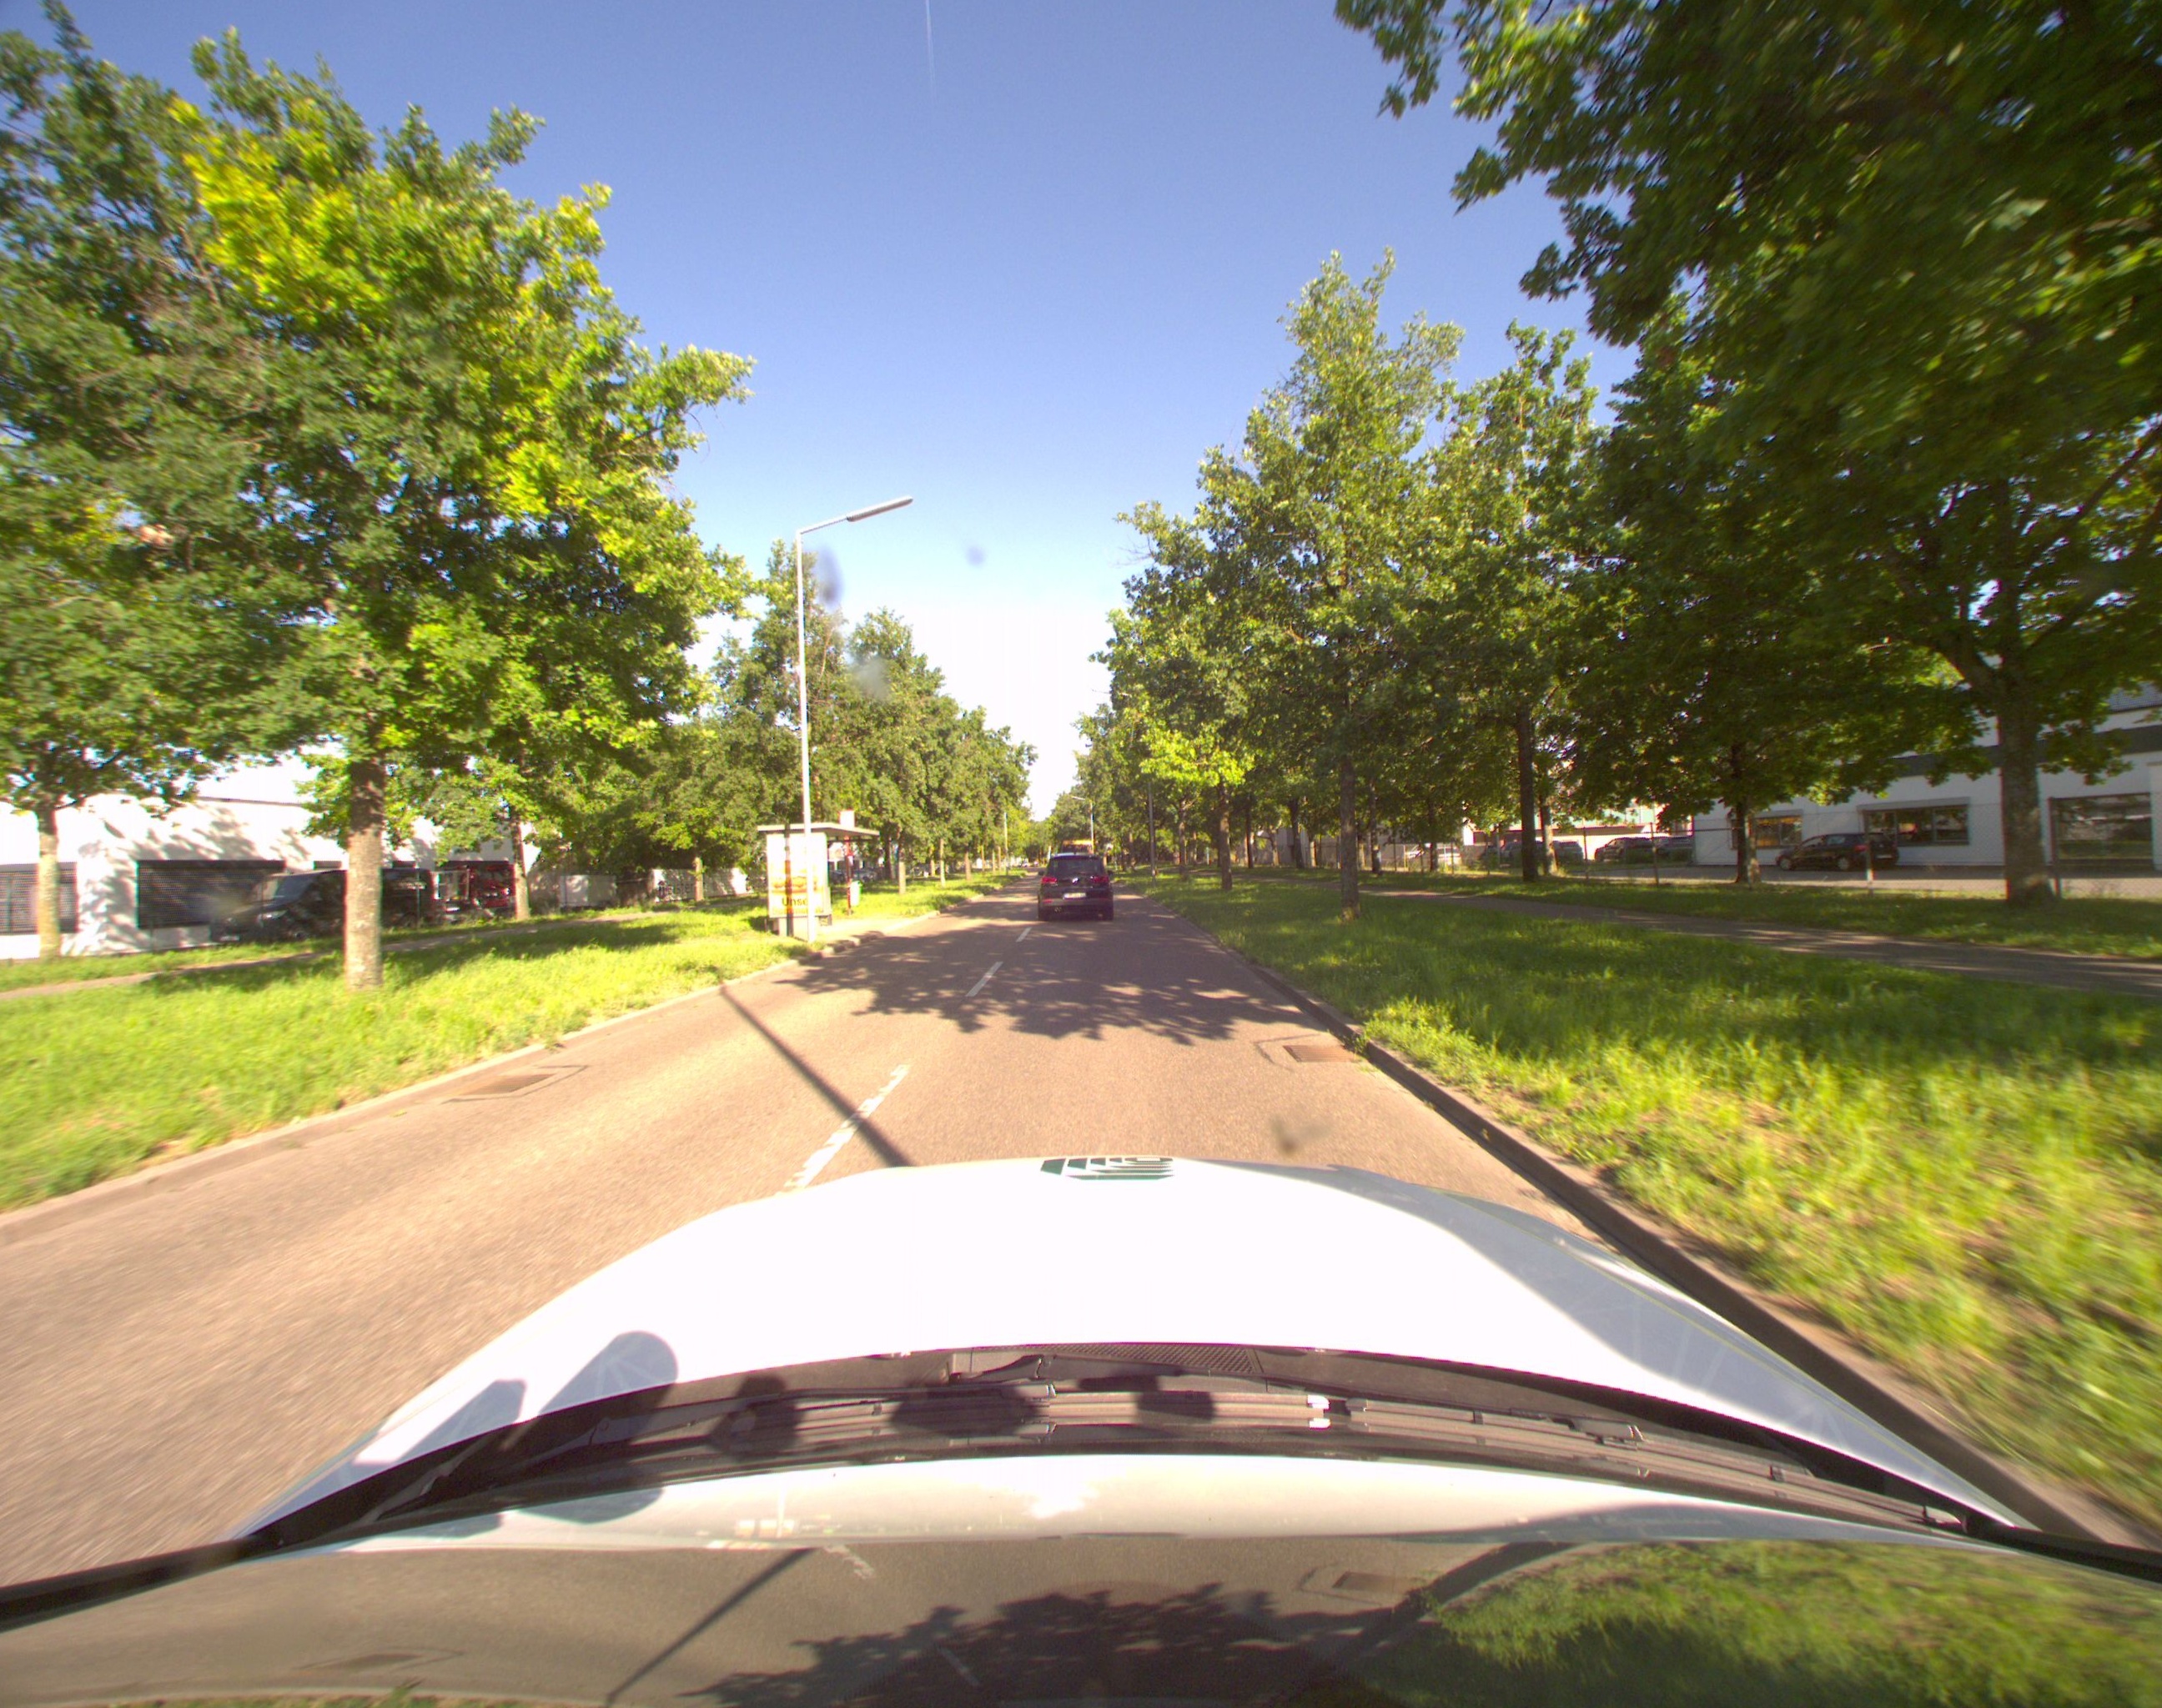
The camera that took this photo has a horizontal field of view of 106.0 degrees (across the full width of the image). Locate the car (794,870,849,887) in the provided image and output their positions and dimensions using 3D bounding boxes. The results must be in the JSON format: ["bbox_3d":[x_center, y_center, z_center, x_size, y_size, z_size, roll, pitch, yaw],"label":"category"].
[{"bbox_3d":[-23.103,2.133,72.539,4.187,1.288,1.940,-2,0,-2],"label":"car"}]

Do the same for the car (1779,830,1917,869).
[{"bbox_3d":[29.848,-0.158,31.860,1.760,1.383,3.765,-2,0,-2],"label":"car"}]

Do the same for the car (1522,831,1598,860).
[{"bbox_3d":[31.618,-0.552,53.921,2.178,1.744,4.639,-2,0,-1],"label":"car"}]

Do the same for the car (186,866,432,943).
[{"bbox_3d":[-23.713,1.440,25.470,2.029,1.988,5.806,-3,-1,1],"label":"car"}]

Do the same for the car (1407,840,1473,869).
[{"bbox_3d":[23.466,0.027,53.496,2.178,1.744,4.639,-2,0,-1],"label":"car"}]

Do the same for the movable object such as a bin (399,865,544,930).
[{"bbox_3d":[-23.524,1.596,31.704,2.094,2.217,4.462,-2,0,2],"label":"movable object such as a bin"}]

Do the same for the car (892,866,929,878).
[{"bbox_3d":[-22.111,2.330,105.803,4.178,1.321,1.944,-2,0,5],"label":"car"}]

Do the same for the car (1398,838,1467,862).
[{"bbox_3d":[28.748,-0.346,66.672,4.621,1.744,2.187,-2,0,-6],"label":"car"}]

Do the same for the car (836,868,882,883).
[{"bbox_3d":[-22.622,2.206,83.144,4.187,1.288,1.940,-2,0,-2],"label":"car"}]

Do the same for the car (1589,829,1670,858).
[{"bbox_3d":[36.273,-0.665,54.027,2.178,1.744,4.639,-2,0,-1],"label":"car"}]

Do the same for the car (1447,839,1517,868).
[{"bbox_3d":[26.080,-0.020,53.141,2.178,1.744,4.639,-2,0,-1],"label":"car"}]

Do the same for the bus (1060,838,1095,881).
[{"bbox_3d":[-0.192,0.465,72.917,2.755,3.456,11.211,-2,0,1],"label":"bus"}]

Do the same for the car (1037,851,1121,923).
[{"bbox_3d":[-0.053,0.764,21.124,1.930,1.656,4.426,-1,0,0],"label":"car"}]

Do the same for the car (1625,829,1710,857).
[{"bbox_3d":[38.706,-0.687,53.951,2.178,1.744,4.639,-2,0,-1],"label":"car"}]

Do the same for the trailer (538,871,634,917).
[{"bbox_3d":[-23.502,1.855,38.839,2.094,1.914,3.742,-2,0,2],"label":"trailer"}]
